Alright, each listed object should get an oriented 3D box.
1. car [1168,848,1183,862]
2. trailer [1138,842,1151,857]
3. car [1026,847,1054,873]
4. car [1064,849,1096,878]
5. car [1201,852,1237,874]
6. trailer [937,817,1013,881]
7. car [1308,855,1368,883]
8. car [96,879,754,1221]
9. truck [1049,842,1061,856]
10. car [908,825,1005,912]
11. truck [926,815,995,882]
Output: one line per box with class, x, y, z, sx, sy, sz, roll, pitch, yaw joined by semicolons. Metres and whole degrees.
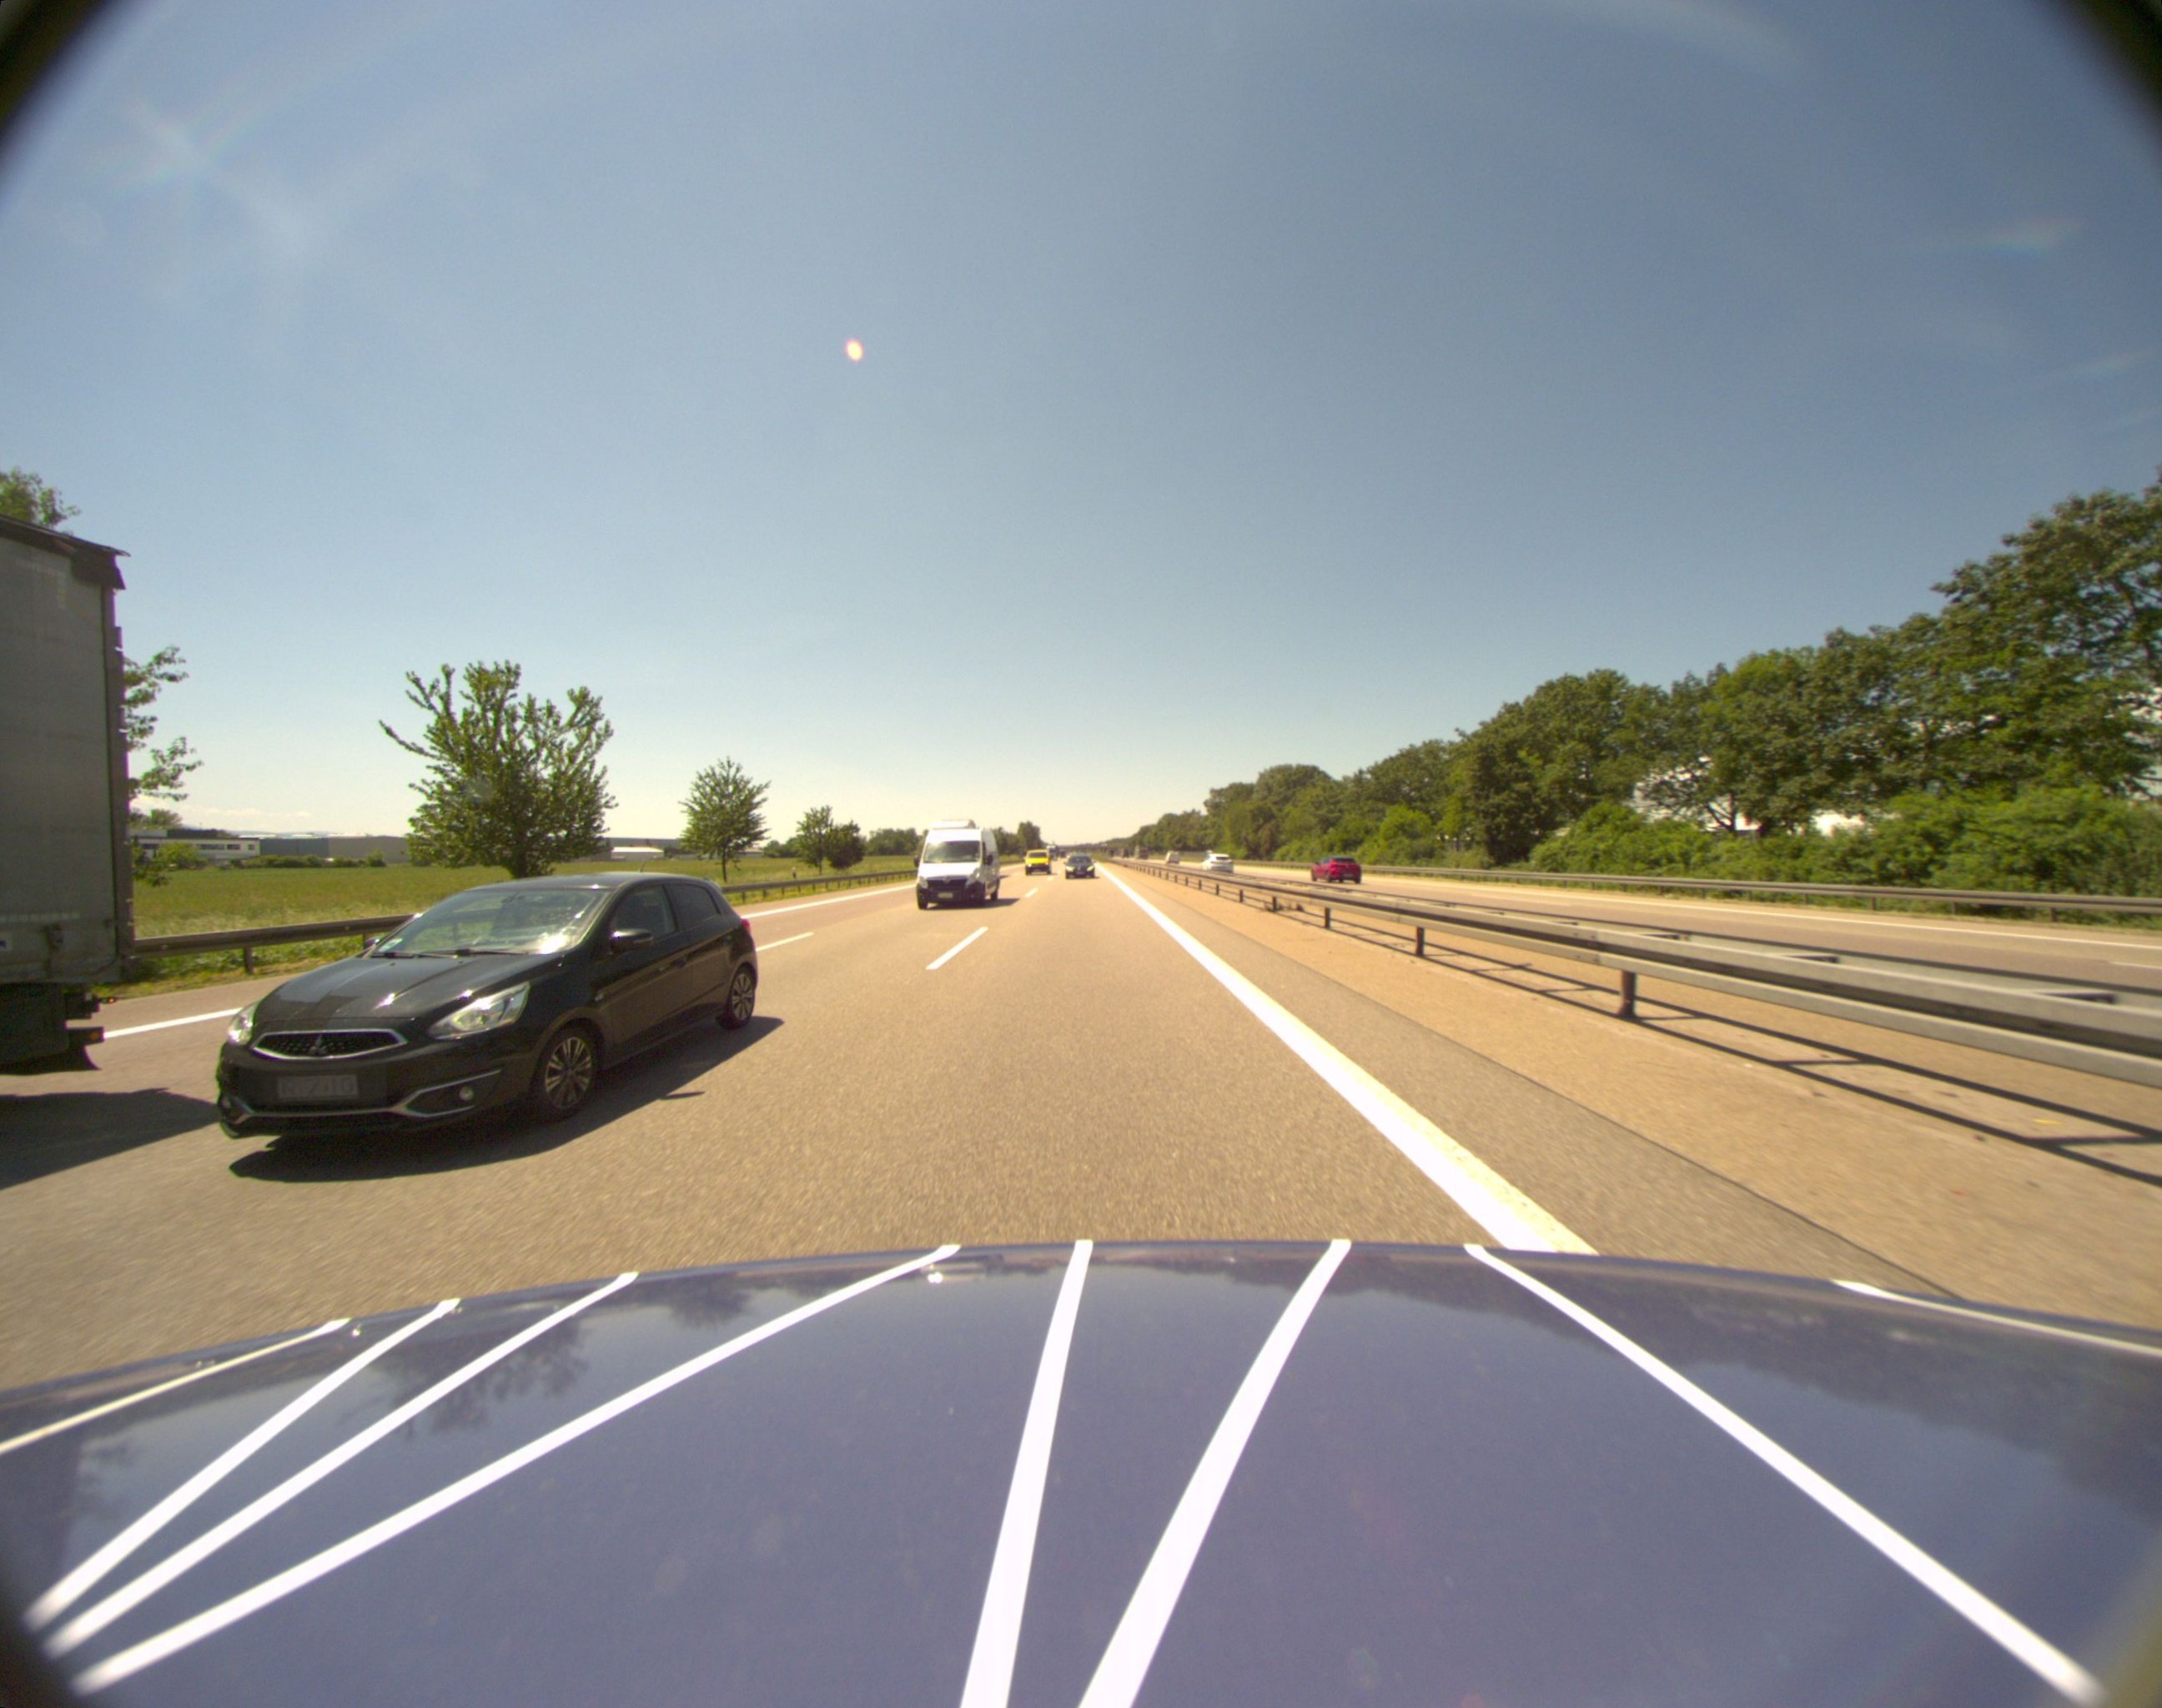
car;14.502;0.103;116.855;1.793;2.002;4.379;2;1;1
trailer;17.987;-1.356;215.828;2.884;4.020;13.680;2;1;1
car;-3.209;0.447;60.429;1.958;1.939;3.999;-2;1;0
car;-0.020;0.571;48.022;1.689;1.646;3.463;-2;1;5
car;9.480;0.603;52.516;1.723;1.414;3.896;1;1;-1
trailer;-7.334;-0.375;55.213;2.699;3.943;13.963;-2;0;3
car;13.708;0.766;40.829;1.777;1.409;4.110;1;0;-1
car;-3.940;1.019;5.441;1.692;1.465;3.432;-2;1;-1
truck;-7.012;-1.333;203.669;2.976;3.626;7.148;-2;1;-2
car;-3.947;0.403;25.280;2.159;2.494;5.945;-2;1;0
truck;-7.655;-0.341;49.347;2.699;3.943;7.704;-2;0;3
